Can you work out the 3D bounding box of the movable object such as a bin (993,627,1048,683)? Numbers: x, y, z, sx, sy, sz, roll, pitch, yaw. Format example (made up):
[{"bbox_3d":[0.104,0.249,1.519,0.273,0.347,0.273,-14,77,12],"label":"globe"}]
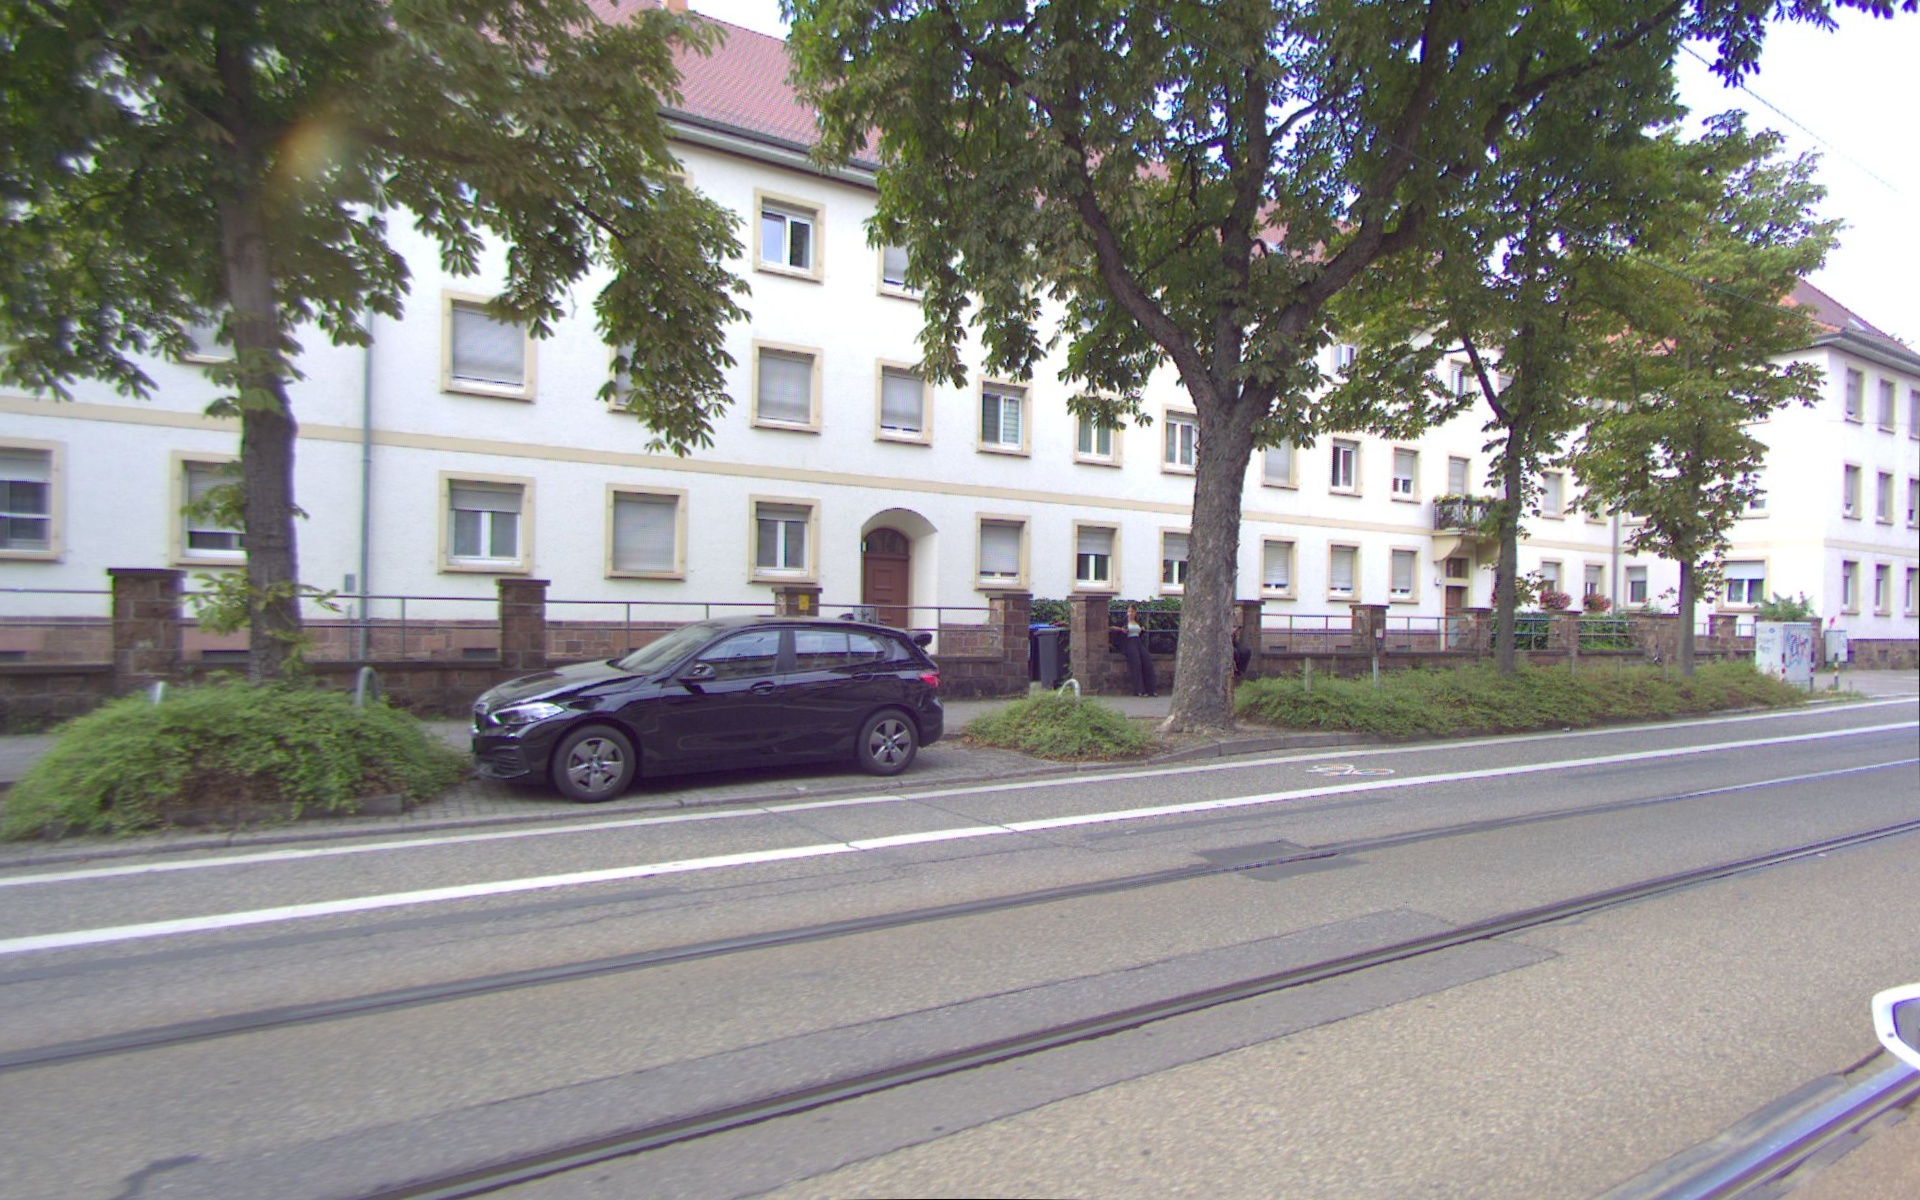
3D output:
[{"bbox_3d":[1.157,1.034,19.199,0.825,1.038,0.656,1,-1,-30],"label":"movable object such as a bin"}]

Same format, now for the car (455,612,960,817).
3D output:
[{"bbox_3d":[-2.270,0.913,9.351,4.249,1.442,1.688,1,2,-30],"label":"car"}]

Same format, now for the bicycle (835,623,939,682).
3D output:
[{"bbox_3d":[-1.121,0.797,15.545,1.532,0.874,0.506,1,-1,-30],"label":"bicycle"}]

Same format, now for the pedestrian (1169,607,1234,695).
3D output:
[{"bbox_3d":[4.215,0.869,17.550,0.725,1.484,0.827,1,-1,-35],"label":"pedestrian"}]

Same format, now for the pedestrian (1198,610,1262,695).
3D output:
[{"bbox_3d":[4.837,0.920,18.021,0.725,1.484,0.827,1,-1,-35],"label":"pedestrian"}]

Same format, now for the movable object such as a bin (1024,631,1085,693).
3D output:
[{"bbox_3d":[1.646,1.066,17.490,0.825,1.038,0.656,1,-1,-30],"label":"movable object such as a bin"}]

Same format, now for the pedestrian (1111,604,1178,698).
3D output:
[{"bbox_3d":[3.094,0.835,16.890,0.725,1.532,0.827,1,-1,-35],"label":"pedestrian"}]
